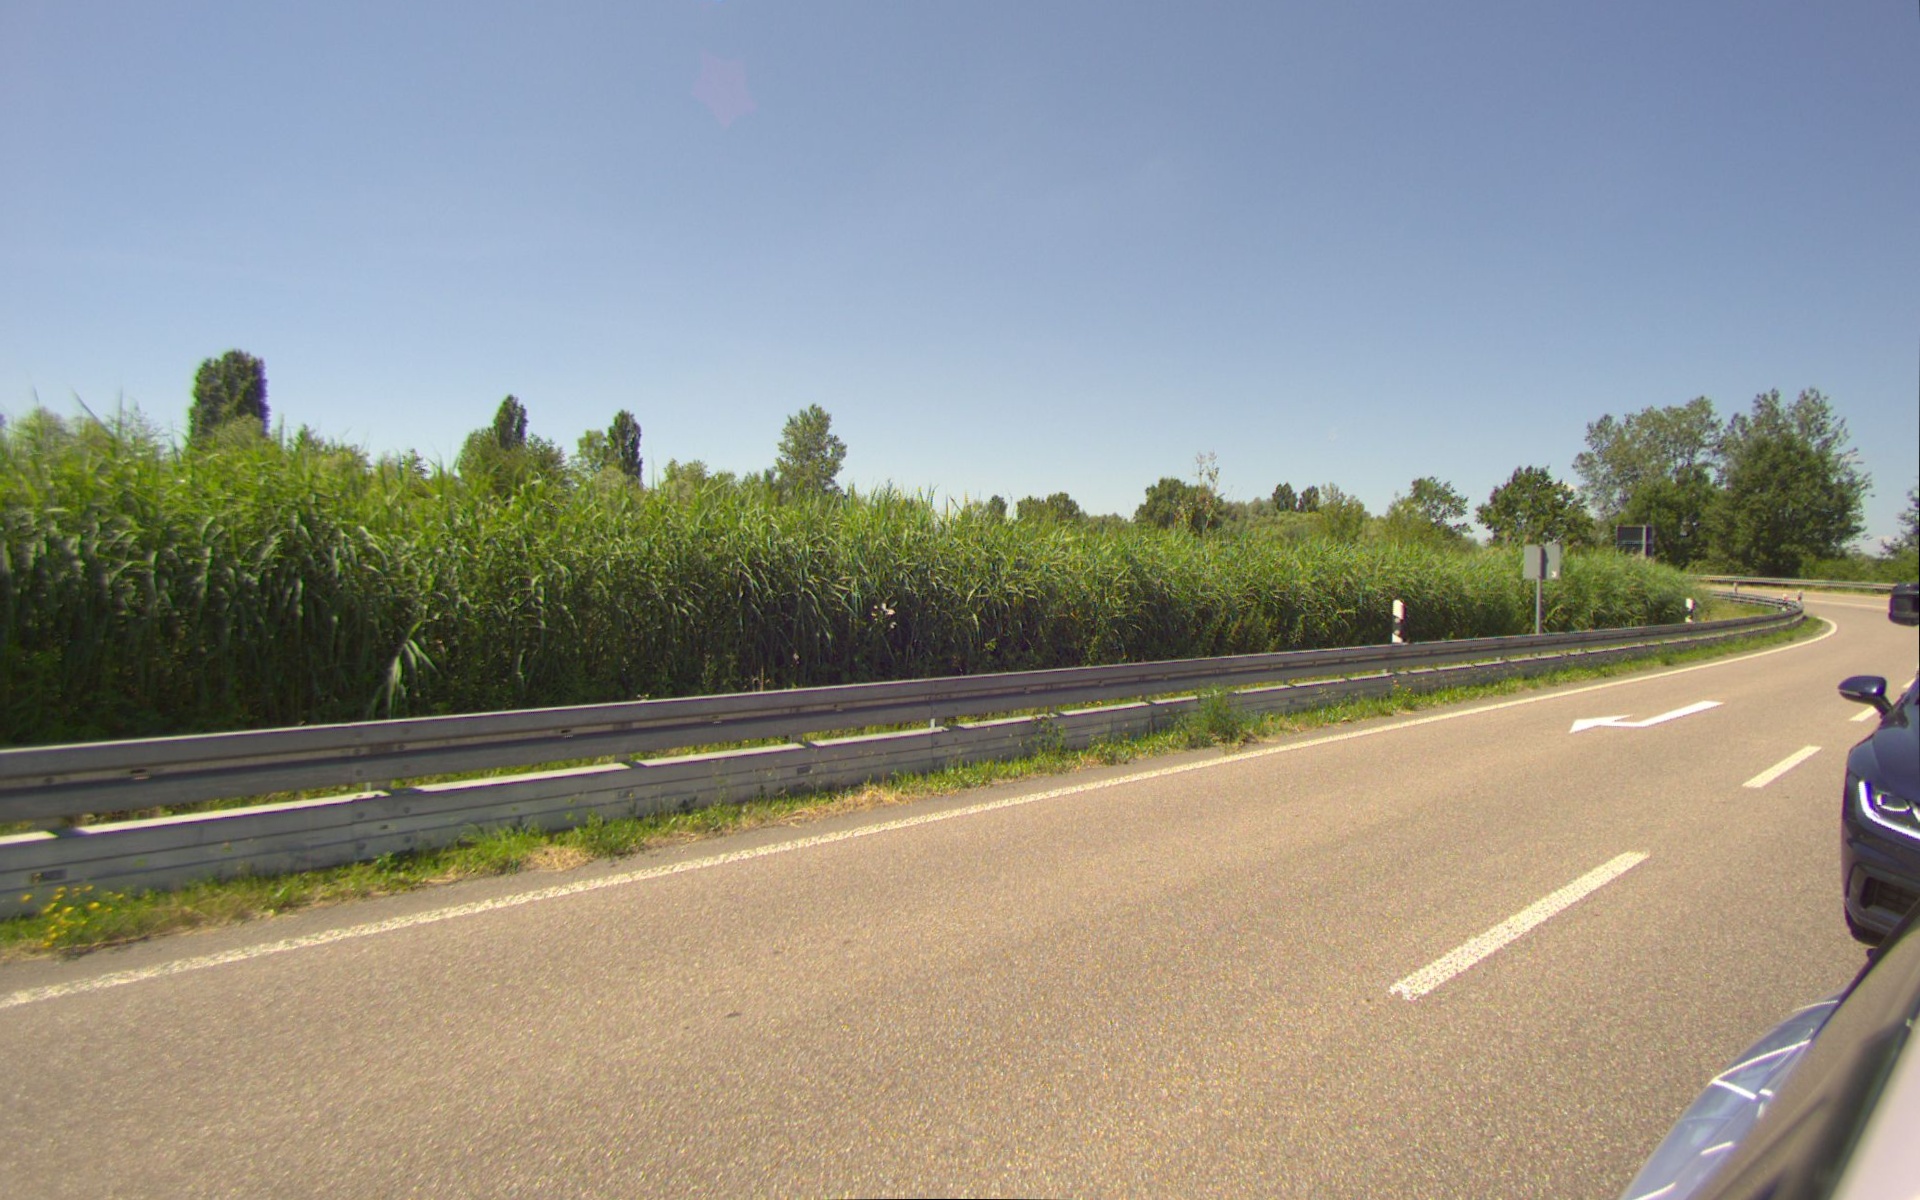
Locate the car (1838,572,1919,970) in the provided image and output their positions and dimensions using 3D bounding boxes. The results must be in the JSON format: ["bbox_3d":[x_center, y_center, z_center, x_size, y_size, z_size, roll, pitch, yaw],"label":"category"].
[{"bbox_3d":[5.644,0.623,4.672,4.338,1.481,1.818,-1,1,-41],"label":"car"}]
